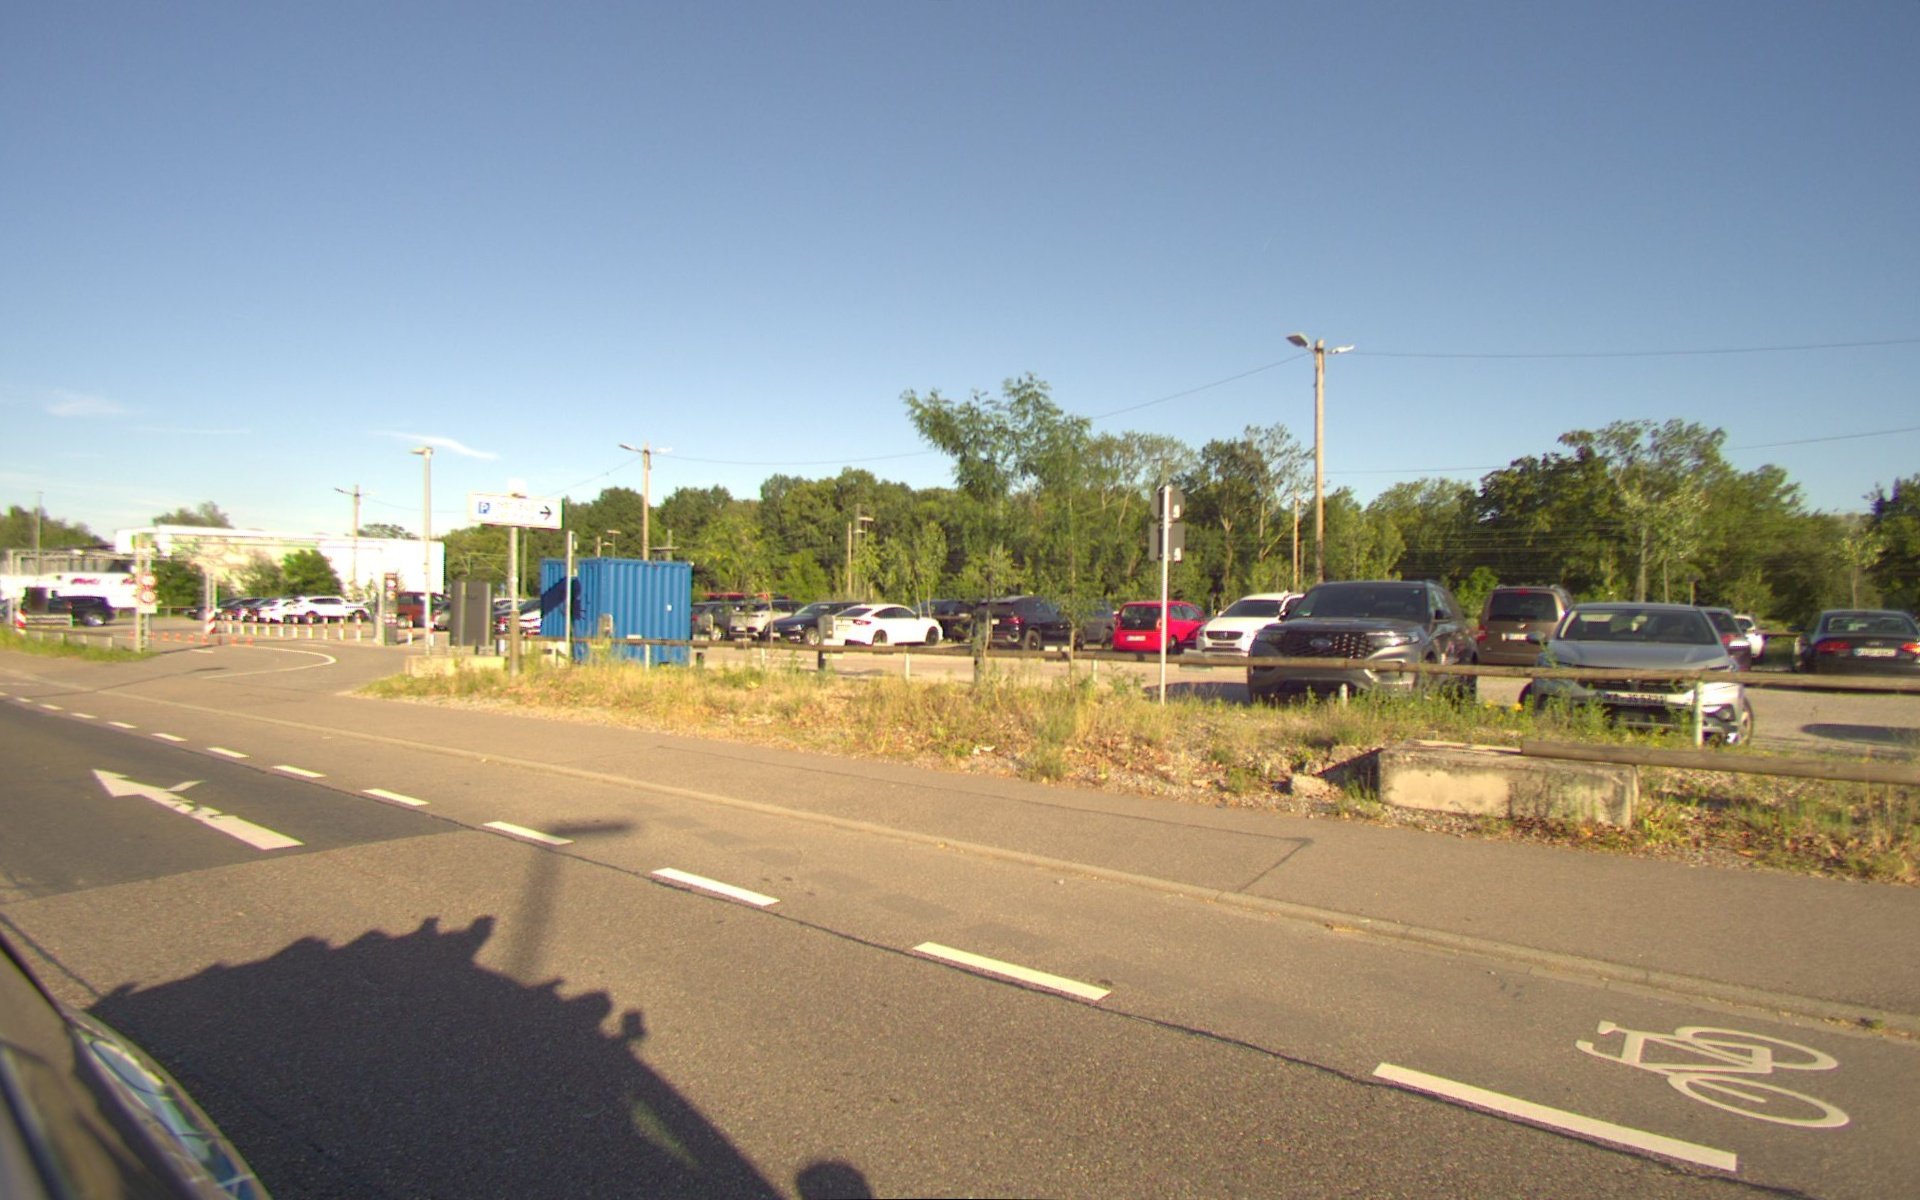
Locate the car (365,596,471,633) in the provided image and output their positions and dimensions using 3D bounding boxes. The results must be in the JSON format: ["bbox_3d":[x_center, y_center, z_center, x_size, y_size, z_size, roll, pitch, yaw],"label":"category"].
[{"bbox_3d":[-27.666,0.692,51.745,1.870,1.790,4.383,-1,0,44],"label":"car"}]

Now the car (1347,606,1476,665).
[{"bbox_3d":[12.423,0.913,27.712,2.091,1.482,4.058,-1,-1,42],"label":"car"}]

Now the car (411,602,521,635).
[{"bbox_3d":[-23.662,0.854,48.563,1.922,1.455,4.384,-1,0,43],"label":"car"}]

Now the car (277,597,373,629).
[{"bbox_3d":[-37.229,0.751,59.425,1.865,1.792,4.394,-1,-1,35],"label":"car"}]

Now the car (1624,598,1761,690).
[{"bbox_3d":[14.375,0.808,19.844,1.997,1.606,3.949,-1,-1,37],"label":"car"}]

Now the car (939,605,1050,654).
[{"bbox_3d":[1.312,1.010,36.321,1.866,1.563,4.393,-1,0,36],"label":"car"}]

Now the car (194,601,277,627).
[{"bbox_3d":[-48.165,0.903,67.399,1.771,1.637,4.297,-1,0,18],"label":"car"}]

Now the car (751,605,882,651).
[{"bbox_3d":[-4.721,0.892,33.955,1.866,1.454,4.393,-1,-1,36],"label":"car"}]

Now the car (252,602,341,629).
[{"bbox_3d":[-39.495,0.920,60.315,1.756,1.497,4.112,-1,0,33],"label":"car"}]

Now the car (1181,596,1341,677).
[{"bbox_3d":[7.348,0.793,24.436,2.038,1.707,4.639,-1,0,40],"label":"car"}]

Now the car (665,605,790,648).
[{"bbox_3d":[-8.579,0.953,37.662,1.866,1.440,4.393,-1,0,36],"label":"car"}]

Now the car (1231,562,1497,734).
[{"bbox_3d":[5.266,0.606,12.789,2.065,1.756,4.482,-1,-3,36],"label":"car"}]

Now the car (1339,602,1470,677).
[{"bbox_3d":[10.209,0.824,23.100,1.888,1.498,3.893,0,0,37],"label":"car"}]

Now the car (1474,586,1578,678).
[{"bbox_3d":[11.946,0.587,21.299,1.765,1.746,3.740,0,0,31],"label":"car"}]

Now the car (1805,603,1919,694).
[{"bbox_3d":[16.134,0.796,17.893,1.758,1.442,3.947,-1,-1,39],"label":"car"}]

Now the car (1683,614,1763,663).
[{"bbox_3d":[24.466,1.173,32.421,1.875,1.442,3.881,-1,-1,40],"label":"car"}]

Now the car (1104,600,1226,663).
[{"bbox_3d":[5.509,0.783,26.885,1.723,1.516,3.952,1,0,36],"label":"car"}]

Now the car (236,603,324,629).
[{"bbox_3d":[-41.506,0.930,61.814,1.760,1.498,4.111,-1,0,33],"label":"car"}]

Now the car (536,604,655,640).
[{"bbox_3d":[-15.184,0.886,42.338,1.943,1.388,4.393,-1,0,36],"label":"car"}]

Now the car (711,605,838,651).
[{"bbox_3d":[-6.517,0.931,35.964,1.866,1.477,4.393,-1,0,36],"label":"car"}]

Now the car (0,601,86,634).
[{"bbox_3d":[-53.206,0.968,57.741,1.997,1.814,4.754,-1,-1,37],"label":"car"}]

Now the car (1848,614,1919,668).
[{"bbox_3d":[27.142,1.126,27.879,3.860,1.457,1.974,0,-1,38],"label":"car"}]

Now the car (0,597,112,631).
[{"bbox_3d":[-48.853,0.712,54.516,1.798,1.754,4.600,-1,0,36],"label":"car"}]

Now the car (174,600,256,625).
[{"bbox_3d":[-50.451,0.843,68.619,1.730,1.621,4.281,-1,0,17],"label":"car"}]

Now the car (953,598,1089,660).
[{"bbox_3d":[1.822,0.781,29.019,1.983,1.601,4.152,-1,0,36],"label":"car"}]

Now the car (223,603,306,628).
[{"bbox_3d":[-43.650,0.945,63.561,1.760,1.498,3.968,-1,0,33],"label":"car"}]

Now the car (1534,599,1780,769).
[{"bbox_3d":[7.361,0.753,10.883,1.834,1.465,3.881,-1,-1,33],"label":"car"}]

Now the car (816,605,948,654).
[{"bbox_3d":[-2.424,0.901,32.480,1.866,1.388,4.393,-1,0,36],"label":"car"}]

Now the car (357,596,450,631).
[{"bbox_3d":[-29.777,0.703,54.199,1.870,1.790,4.017,-1,0,44],"label":"car"}]

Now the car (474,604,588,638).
[{"bbox_3d":[-19.141,0.914,45.285,1.866,1.388,4.393,-1,0,36],"label":"car"}]

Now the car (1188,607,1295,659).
[{"bbox_3d":[8.550,0.942,30.547,1.943,1.473,4.154,0,-1,34],"label":"car"}]

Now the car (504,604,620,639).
[{"bbox_3d":[-17.203,0.901,43.961,1.866,1.388,4.393,-1,0,36],"label":"car"}]
